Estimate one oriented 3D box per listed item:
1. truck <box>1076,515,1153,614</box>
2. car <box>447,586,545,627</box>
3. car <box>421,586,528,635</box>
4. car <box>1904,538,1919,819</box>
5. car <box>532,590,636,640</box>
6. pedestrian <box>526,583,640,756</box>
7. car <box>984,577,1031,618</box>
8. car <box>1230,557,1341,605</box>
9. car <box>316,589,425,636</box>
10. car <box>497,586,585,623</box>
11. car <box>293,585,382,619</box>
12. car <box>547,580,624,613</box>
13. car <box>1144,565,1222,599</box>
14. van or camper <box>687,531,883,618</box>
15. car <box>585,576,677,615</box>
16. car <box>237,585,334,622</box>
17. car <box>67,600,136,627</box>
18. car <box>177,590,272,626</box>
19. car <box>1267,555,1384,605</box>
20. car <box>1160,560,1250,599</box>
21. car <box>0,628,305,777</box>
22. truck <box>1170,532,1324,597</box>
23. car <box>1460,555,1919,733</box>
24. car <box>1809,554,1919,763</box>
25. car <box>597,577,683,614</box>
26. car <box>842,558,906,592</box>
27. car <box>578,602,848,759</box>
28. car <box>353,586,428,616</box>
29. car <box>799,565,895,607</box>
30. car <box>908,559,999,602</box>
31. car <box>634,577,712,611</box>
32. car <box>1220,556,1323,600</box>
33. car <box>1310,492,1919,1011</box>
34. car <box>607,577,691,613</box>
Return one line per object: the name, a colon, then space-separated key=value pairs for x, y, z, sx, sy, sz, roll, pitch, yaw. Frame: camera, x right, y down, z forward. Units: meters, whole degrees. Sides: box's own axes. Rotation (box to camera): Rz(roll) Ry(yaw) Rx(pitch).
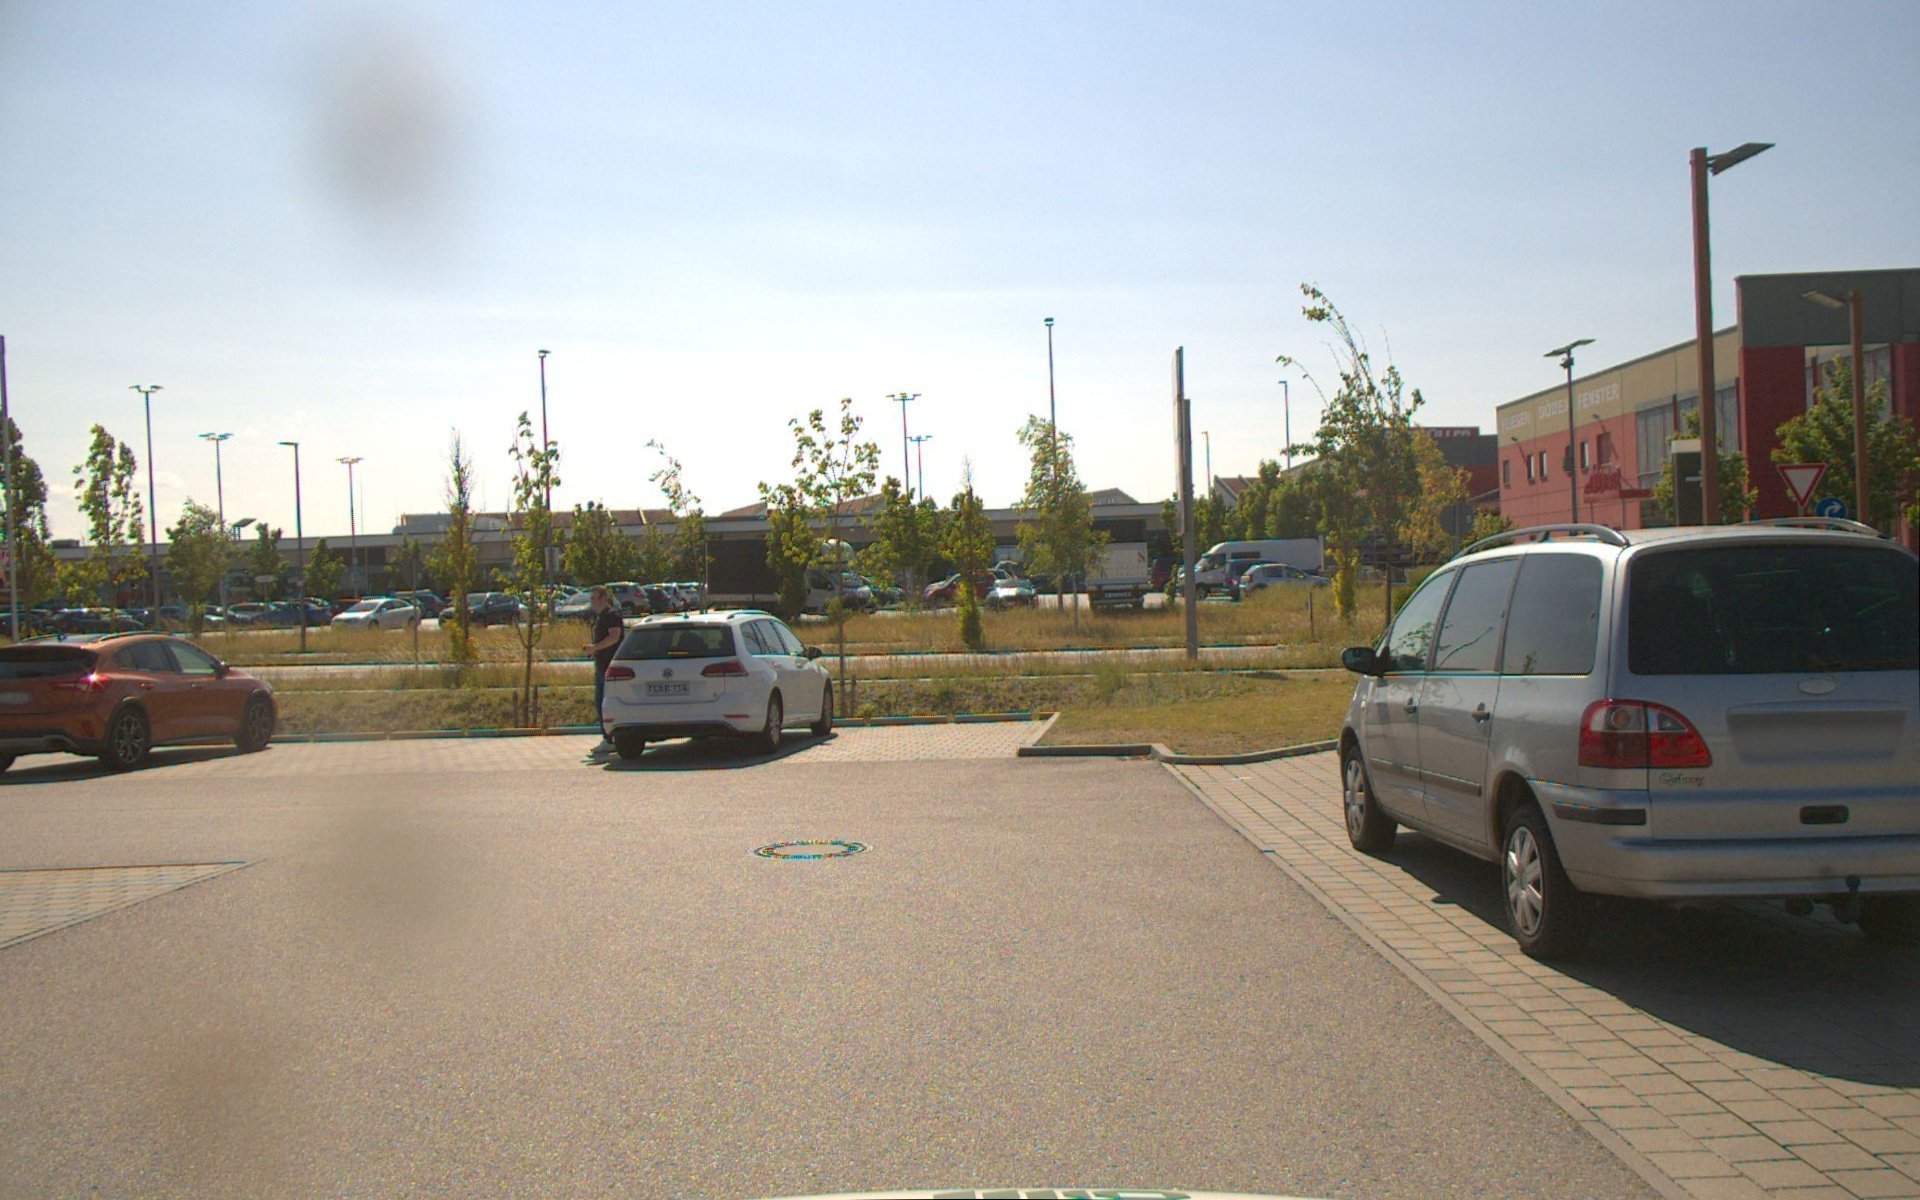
truck: x=5.911 y=-1.332 z=63.534 sx=2.701 sy=3.541 sz=6.837 roll=-1 pitch=0 yaw=5
car: x=-23.204 y=0.318 z=82.745 sx=4.301 sy=1.888 sz=1.955 roll=-1 pitch=0 yaw=-1
car: x=-20.123 y=0.420 z=68.789 sx=1.909 sy=1.888 sz=4.404 roll=-1 pitch=1 yaw=22
car: x=7.936 y=0.422 z=9.653 sx=4.118 sy=1.683 sz=1.970 roll=-1 pitch=0 yaw=33
car: x=-15.197 y=0.593 z=67.079 sx=1.909 sy=1.888 sz=4.404 roll=-1 pitch=1 yaw=22
pedestrian: x=-4.171 y=0.748 z=18.292 sx=0.984 sy=1.841 sz=0.716 roll=-1 pitch=-1 yaw=-38
car: x=1.867 y=-0.118 z=64.236 sx=1.615 sy=1.485 sz=3.969 roll=-1 pitch=0 yaw=4
car: x=13.765 y=-0.811 z=70.171 sx=4.301 sy=1.888 sz=1.955 roll=-1 pitch=0 yaw=-1
car: x=-24.978 y=0.501 z=70.244 sx=1.953 sy=1.888 sz=4.286 roll=-1 pitch=1 yaw=23
car: x=-22.997 y=0.230 z=90.913 sx=4.301 sy=1.888 sz=1.955 roll=-1 pitch=0 yaw=-1
car: x=-36.951 y=0.129 z=98.249 sx=4.465 sy=1.888 sz=1.955 roll=-1 pitch=0 yaw=-1
car: x=-22.925 y=-0.230 z=101.379 sx=4.303 sy=1.888 sz=1.954 roll=-1 pitch=0 yaw=-3
car: x=13.125 y=-1.046 z=97.576 sx=4.301 sy=1.888 sz=1.955 roll=-1 pitch=0 yaw=-1
van or camper: x=-6.957 y=-0.958 z=65.171 sx=7.886 sy=3.155 sz=2.413 roll=-1 pitch=0 yaw=33
car: x=-16.945 y=-0.225 z=85.323 sx=4.301 sy=1.888 sz=1.955 roll=-1 pitch=0 yaw=-1
car: x=-36.754 y=0.198 z=90.193 sx=4.465 sy=1.888 sz=1.955 roll=-1 pitch=0 yaw=-1
car: x=-53.829 y=0.838 z=103.747 sx=3.398 sy=1.579 sz=1.665 roll=-1 pitch=0 yaw=-6
car: x=-44.868 y=0.488 z=101.008 sx=4.820 sy=2.049 sz=2.080 roll=-1 pitch=0 yaw=-5
car: x=14.892 y=-0.813 z=67.469 sx=4.301 sy=1.888 sz=1.955 roll=-1 pitch=0 yaw=-1
car: x=12.561 y=-1.065 z=85.072 sx=4.301 sy=1.888 sz=1.955 roll=-1 pitch=0 yaw=-1
car: x=-9.752 y=1.128 z=19.567 sx=1.788 sy=1.495 sz=4.356 roll=-2 pitch=-1 yaw=8
truck: x=13.498 y=-1.681 z=78.089 sx=6.892 sy=2.863 sz=1.955 roll=-1 pitch=0 yaw=-1
car: x=7.530 y=0.389 z=16.810 sx=4.258 sy=1.552 sz=1.962 roll=-1 pitch=1 yaw=44
car: x=8.773 y=0.398 z=12.286 sx=4.123 sy=1.553 sz=1.968 roll=-1 pitch=1 yaw=37
car: x=-17.435 y=-0.258 z=90.218 sx=4.301 sy=1.888 sz=1.955 roll=-1 pitch=0 yaw=-1
car: x=-5.509 y=-1.619 z=106.822 sx=3.904 sy=2.049 sz=2.001 roll=-1 pitch=0 yaw=2
car: x=-2.591 y=0.819 z=18.517 sx=1.788 sy=1.495 sz=4.485 roll=-2 pitch=-1 yaw=7
car: x=-38.146 y=0.043 z=110.786 sx=4.301 sy=1.888 sz=1.955 roll=-1 pitch=0 yaw=-1
car: x=-5.843 y=-0.710 z=85.281 sx=4.820 sy=2.049 sz=2.080 roll=-1 pitch=0 yaw=-5
car: x=-0.293 y=-0.923 z=77.130 sx=4.167 sy=1.888 sz=1.870 roll=-1 pitch=0 yaw=-1
car: x=-17.067 y=-0.343 z=98.543 sx=4.301 sy=1.888 sz=1.955 roll=-1 pitch=0 yaw=-1
car: x=14.155 y=-1.013 z=75.278 sx=4.301 sy=1.888 sz=1.955 roll=-1 pitch=0 yaw=-1
car: x=3.173 y=0.505 z=8.136 sx=1.790 sy=1.779 sz=4.682 roll=-2 pitch=0 yaw=-1
car: x=-17.368 y=-0.281 z=92.570 sx=4.301 sy=1.888 sz=1.955 roll=-1 pitch=0 yaw=-1
